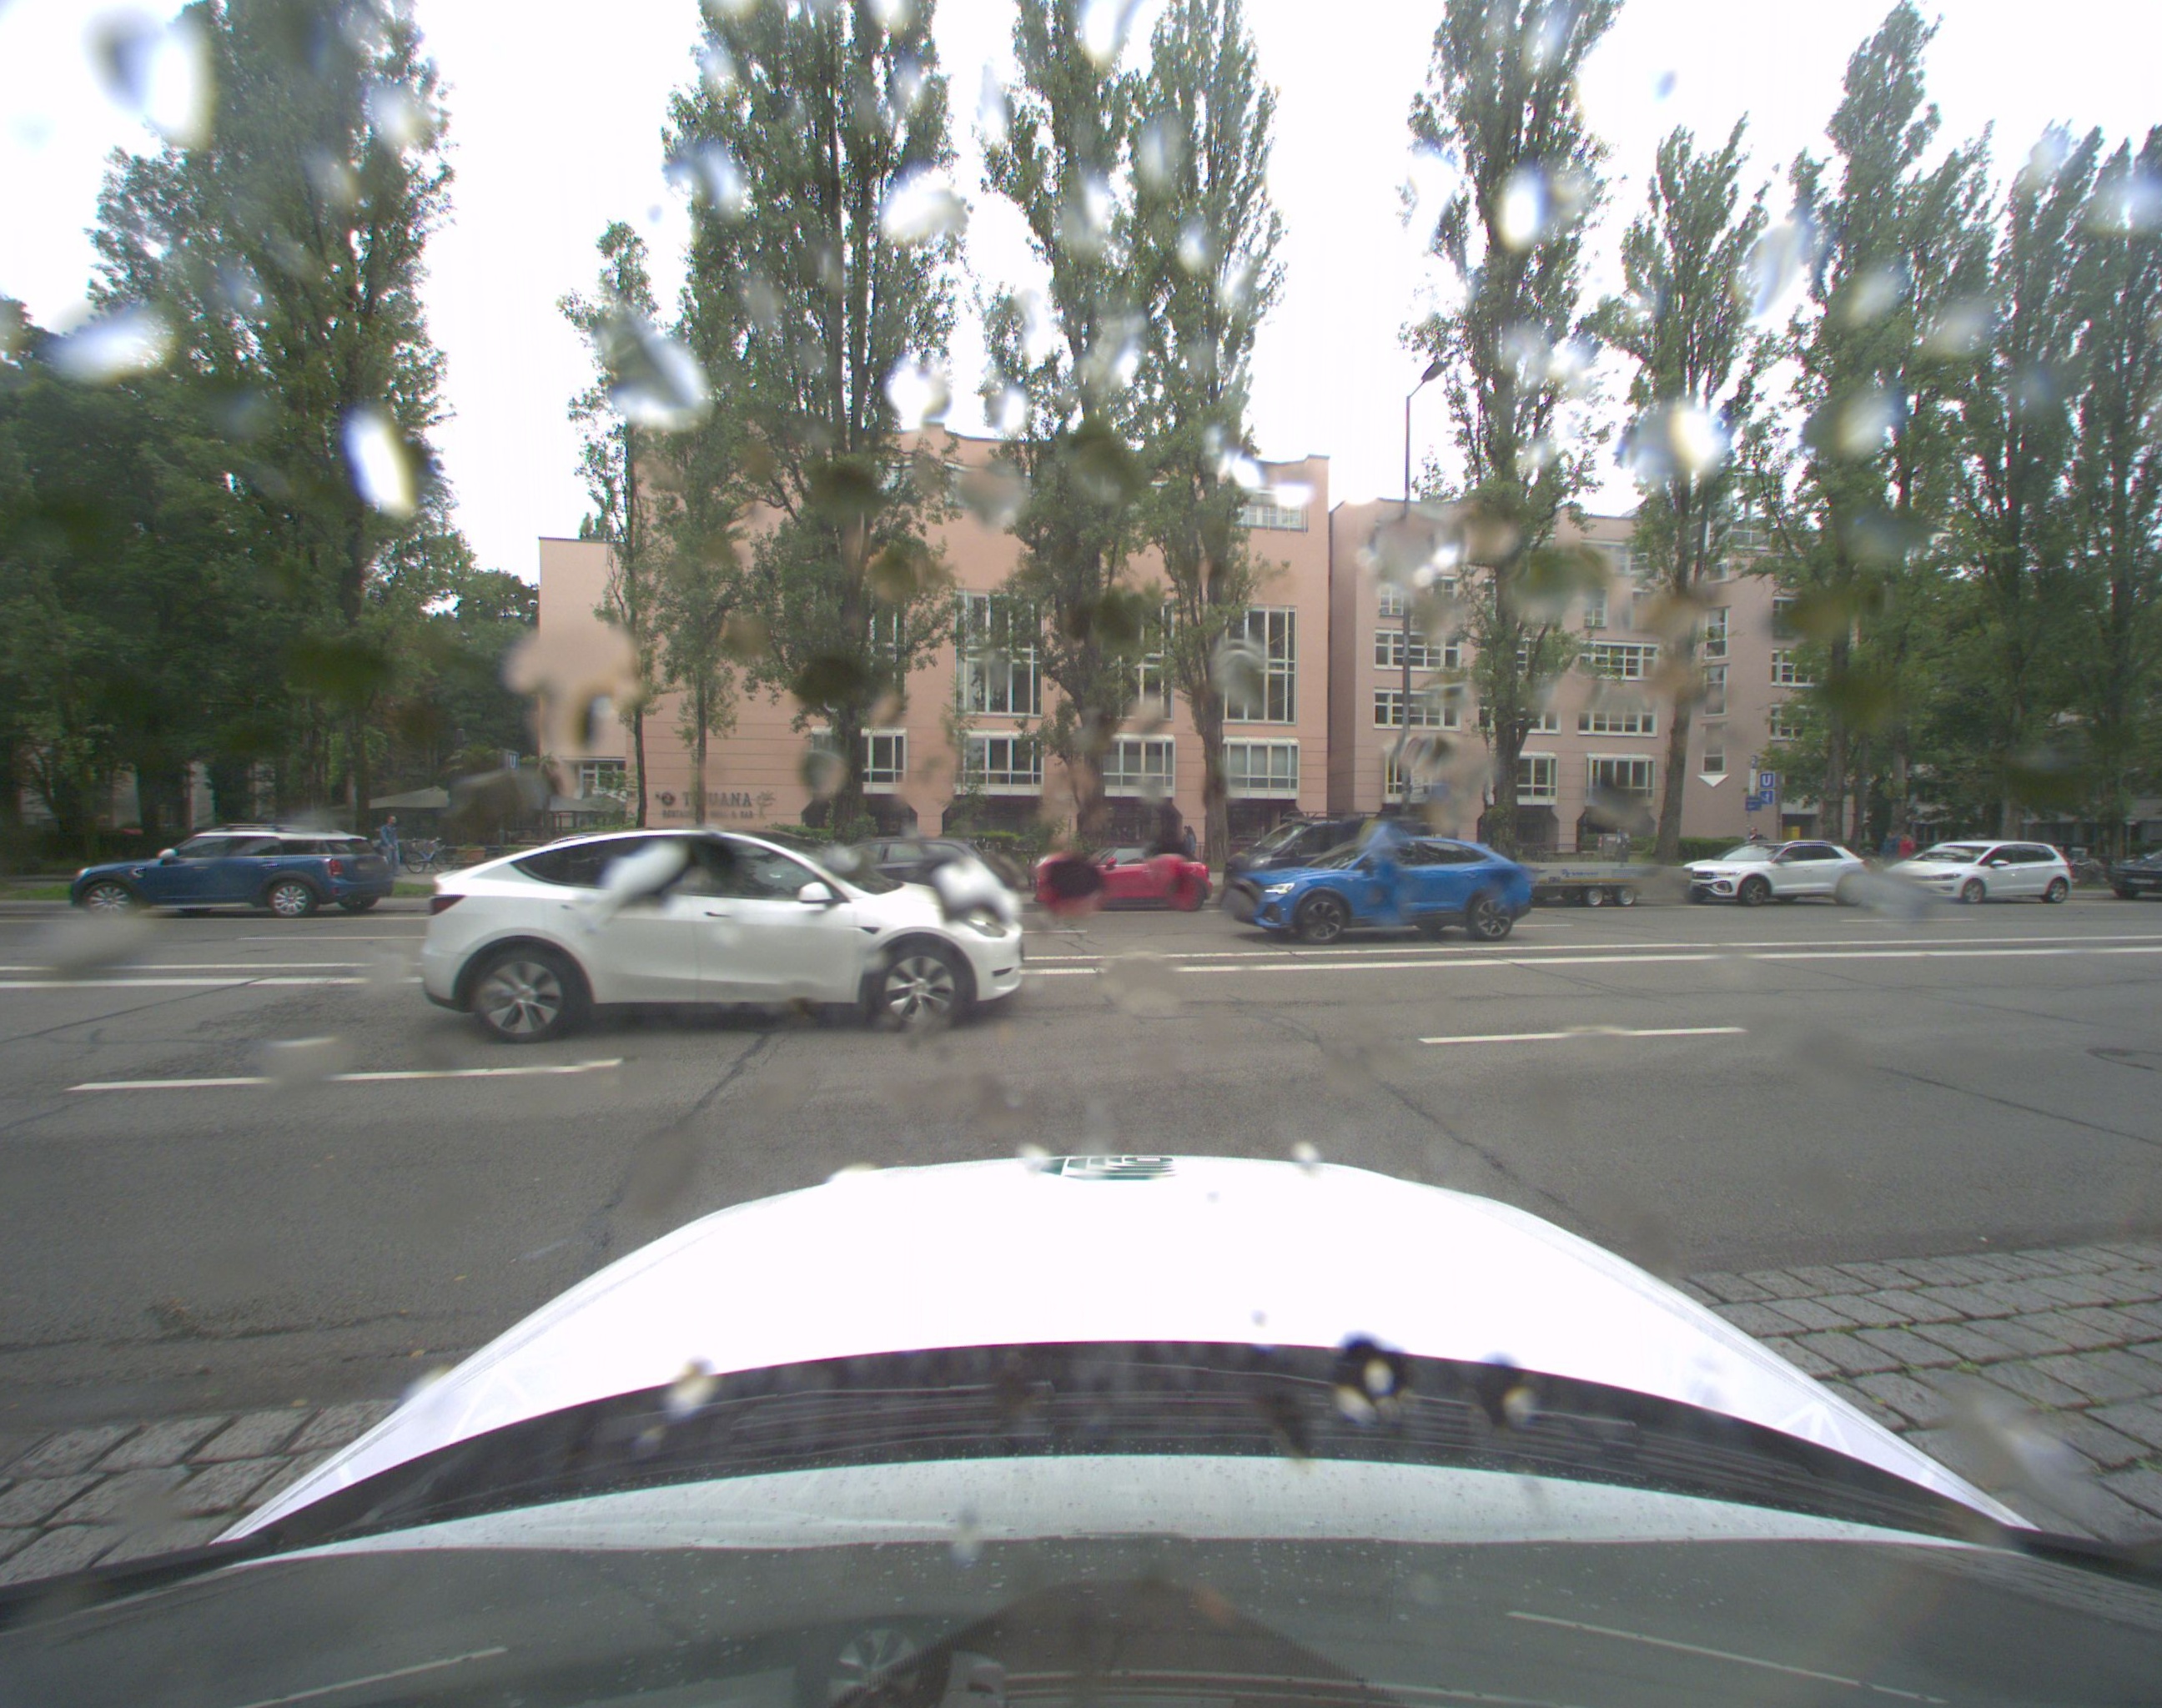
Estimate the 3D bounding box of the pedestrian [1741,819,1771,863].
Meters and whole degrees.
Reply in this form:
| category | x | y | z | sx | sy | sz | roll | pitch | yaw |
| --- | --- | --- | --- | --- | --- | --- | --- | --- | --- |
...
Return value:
| category | x | y | z | sx | sy | sz | roll | pitch | yaw |
| --- | --- | --- | --- | --- | --- | --- | --- | --- | --- |
| pedestrian | 25.106 | -0.481 | 30.290 | 0.652 | 1.604 | 0.561 | 1 | 1 | 12 |

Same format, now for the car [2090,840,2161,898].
| category | x | y | z | sx | sy | sz | roll | pitch | yaw |
| --- | --- | --- | --- | --- | --- | --- | --- | --- | --- |
| car | 30.903 | 0.402 | 22.403 | 4.307 | 1.541 | 1.995 | 0 | 2 | -8 |

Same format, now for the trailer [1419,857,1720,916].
| category | x | y | z | sx | sy | sz | roll | pitch | yaw |
| --- | --- | --- | --- | --- | --- | --- | --- | --- | --- |
| trailer | 11.546 | 0.729 | 19.480 | 6.014 | 1.199 | 2.399 | 0 | 2 | -8 |

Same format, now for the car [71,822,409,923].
| category | x | y | z | sx | sy | sz | roll | pitch | yaw |
| --- | --- | --- | --- | --- | --- | --- | --- | --- | --- |
| car | -15.415 | 0.309 | 15.175 | 4.065 | 1.731 | 1.788 | 0 | 0 | -10 |

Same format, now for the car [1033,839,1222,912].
| category | x | y | z | sx | sy | sz | roll | pitch | yaw |
| --- | --- | --- | --- | --- | --- | --- | --- | --- | --- |
| car | 0.919 | 0.431 | 17.510 | 3.855 | 1.448 | 1.675 | 0 | 2 | -6 |

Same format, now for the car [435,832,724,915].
| category | x | y | z | sx | sy | sz | roll | pitch | yaw |
| --- | --- | --- | --- | --- | --- | --- | --- | --- | --- |
| car | -9.756 | 0.337 | 16.200 | 4.497 | 1.528 | 1.789 | 0 | 2 | -9 |

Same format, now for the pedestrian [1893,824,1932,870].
| category | x | y | z | sx | sy | sz | roll | pitch | yaw |
| --- | --- | --- | --- | --- | --- | --- | --- | --- | --- |
| pedestrian | 31.382 | -0.270 | 30.735 | 0.729 | 1.713 | 0.707 | 0 | 1 | -7 |

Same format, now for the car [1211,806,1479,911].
| category | x | y | z | sx | sy | sz | roll | pitch | yaw |
| --- | --- | --- | --- | --- | --- | --- | --- | --- | --- |
| car | 5.905 | 0.072 | 18.508 | 5.476 | 2.196 | 2.018 | 0 | 2 | -8 |

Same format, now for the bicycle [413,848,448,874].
| category | x | y | z | sx | sy | sz | roll | pitch | yaw |
| --- | --- | --- | --- | --- | --- | --- | --- | --- | --- |
| bicycle | -20.884 | 0.226 | 26.175 | 0.323 | 0.798 | 1.028 | 0 | 1 | -2 |

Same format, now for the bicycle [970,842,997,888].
| category | x | y | z | sx | sy | sz | roll | pitch | yaw |
| --- | --- | --- | --- | --- | --- | --- | --- | --- | --- |
| bicycle | -2.568 | 0.270 | 21.431 | 0.673 | 1.124 | 1.738 | 0 | 2 | -7 |

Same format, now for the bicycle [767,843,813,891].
| category | x | y | z | sx | sy | sz | roll | pitch | yaw |
| --- | --- | --- | --- | --- | --- | --- | --- | --- | --- |
| bicycle | -7.379 | 0.311 | 20.724 | 0.673 | 1.124 | 1.984 | 0 | 2 | -7 |

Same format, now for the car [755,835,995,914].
| category | x | y | z | sx | sy | sz | roll | pitch | yaw |
| --- | --- | --- | --- | --- | --- | --- | --- | --- | --- |
| car | -4.129 | 0.380 | 16.954 | 4.606 | 1.528 | 1.789 | 0 | 2 | -9 |

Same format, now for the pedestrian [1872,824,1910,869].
| category | x | y | z | sx | sy | sz | roll | pitch | yaw |
| --- | --- | --- | --- | --- | --- | --- | --- | --- | --- |
| pedestrian | 31.323 | -0.288 | 31.491 | 0.729 | 1.713 | 0.707 | 0 | 1 | -7 |

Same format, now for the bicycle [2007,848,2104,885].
| category | x | y | z | sx | sy | sz | roll | pitch | yaw |
| --- | --- | --- | --- | --- | --- | --- | --- | --- | --- |
| bicycle | 31.945 | 0.383 | 26.750 | 0.673 | 1.124 | 1.984 | 0 | 2 | -7 |

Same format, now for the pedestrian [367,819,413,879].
| category | x | y | z | sx | sy | sz | roll | pitch | yaw |
| --- | --- | --- | --- | --- | --- | --- | --- | --- | --- |
| pedestrian | -19.856 | -0.147 | 23.410 | 0.729 | 1.713 | 0.707 | 0 | 1 | -7 |

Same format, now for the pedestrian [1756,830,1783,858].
| category | x | y | z | sx | sy | sz | roll | pitch | yaw |
| --- | --- | --- | --- | --- | --- | --- | --- | --- | --- |
| pedestrian | 40.913 | -0.611 | 48.419 | 0.893 | 1.661 | 0.815 | 0 | 1 | -7 |

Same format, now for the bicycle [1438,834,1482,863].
| category | x | y | z | sx | sy | sz | roll | pitch | yaw |
| --- | --- | --- | --- | --- | --- | --- | --- | --- | --- |
| bicycle | 15.597 | -0.234 | 33.591 | 0.673 | 1.124 | 1.984 | 0 | 2 | -7 |

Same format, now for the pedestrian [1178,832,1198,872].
| category | x | y | z | sx | sy | sz | roll | pitch | yaw |
| --- | --- | --- | --- | --- | --- | --- | --- | --- | --- |
| pedestrian | 4.658 | -0.113 | 35.348 | 0.706 | 1.713 | 0.731 | 0 | 1 | -5 |

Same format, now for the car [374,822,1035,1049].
| category | x | y | z | sx | sy | sz | roll | pitch | yaw |
| --- | --- | --- | --- | --- | --- | --- | --- | --- | --- |
| car | -2.786 | 0.540 | 7.059 | 4.621 | 1.575 | 1.995 | 0 | 3 | -9 |

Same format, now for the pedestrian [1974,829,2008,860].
| category | x | y | z | sx | sy | sz | roll | pitch | yaw |
| --- | --- | --- | --- | --- | --- | --- | --- | --- | --- |
| pedestrian | 48.859 | -0.530 | 43.742 | 0.893 | 1.661 | 0.815 | 0 | 1 | -7 |

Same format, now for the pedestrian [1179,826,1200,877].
| category | x | y | z | sx | sy | sz | roll | pitch | yaw |
| --- | --- | --- | --- | --- | --- | --- | --- | --- | --- |
| pedestrian | 3.555 | -0.093 | 26.699 | 0.556 | 1.663 | 0.620 | 0 | 1 | -4 |

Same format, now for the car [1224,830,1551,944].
| category | x | y | z | sx | sy | sz | roll | pitch | yaw |
| --- | --- | --- | --- | --- | --- | --- | --- | --- | --- |
| car | 4.612 | 0.461 | 12.577 | 4.405 | 1.579 | 1.867 | 0 | 0 | -8 |

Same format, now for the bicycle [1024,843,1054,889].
| category | x | y | z | sx | sy | sz | roll | pitch | yaw |
| --- | --- | --- | --- | --- | --- | --- | --- | --- | --- |
| bicycle | -1.129 | 0.292 | 21.637 | 0.673 | 1.124 | 1.725 | 0 | 2 | -7 |

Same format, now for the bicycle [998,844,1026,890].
| category | x | y | z | sx | sy | sz | roll | pitch | yaw |
| --- | --- | --- | --- | --- | --- | --- | --- | --- | --- |
| bicycle | -1.833 | 0.311 | 21.545 | 0.673 | 1.124 | 1.738 | 0 | 2 | -7 |

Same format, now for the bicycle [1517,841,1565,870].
| category | x | y | z | sx | sy | sz | roll | pitch | yaw |
| --- | --- | --- | --- | --- | --- | --- | --- | --- | --- |
| bicycle | 19.143 | 0.046 | 33.958 | 0.673 | 1.124 | 1.984 | 0 | 2 | -7 |

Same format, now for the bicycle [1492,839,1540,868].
| category | x | y | z | sx | sy | sz | roll | pitch | yaw |
| --- | --- | --- | --- | --- | --- | --- | --- | --- | --- |
| bicycle | 18.008 | -0.050 | 33.787 | 0.673 | 1.124 | 2.102 | 0 | 2 | -7 |

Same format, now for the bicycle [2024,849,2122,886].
| category | x | y | z | sx | sy | sz | roll | pitch | yaw |
| --- | --- | --- | --- | --- | --- | --- | --- | --- | --- |
| bicycle | 32.697 | 0.429 | 26.883 | 0.673 | 1.124 | 1.984 | 0 | 2 | -7 |

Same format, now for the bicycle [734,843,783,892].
| category | x | y | z | sx | sy | sz | roll | pitch | yaw |
| --- | --- | --- | --- | --- | --- | --- | --- | --- | --- |
| bicycle | -8.133 | 0.310 | 20.637 | 0.673 | 1.124 | 1.984 | 0 | 2 | -7 |

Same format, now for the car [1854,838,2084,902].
| category | x | y | z | sx | sy | sz | roll | pitch | yaw |
| --- | --- | --- | --- | --- | --- | --- | --- | --- | --- |
| car | 22.992 | 0.379 | 21.179 | 4.309 | 1.541 | 1.994 | 0 | 2 | -9 |

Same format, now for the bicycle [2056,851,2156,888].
| category | x | y | z | sx | sy | sz | roll | pitch | yaw |
| --- | --- | --- | --- | --- | --- | --- | --- | --- | --- |
| bicycle | 33.914 | 0.478 | 26.989 | 0.673 | 1.124 | 1.984 | 0 | 2 | -7 |

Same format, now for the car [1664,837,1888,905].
| category | x | y | z | sx | sy | sz | roll | pitch | yaw |
| --- | --- | --- | --- | --- | --- | --- | --- | --- | --- |
| car | 16.893 | 0.381 | 19.885 | 4.215 | 1.542 | 1.802 | 0 | 0 | -7 |

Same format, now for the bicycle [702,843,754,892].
| category | x | y | z | sx | sy | sz | roll | pitch | yaw |
| --- | --- | --- | --- | --- | --- | --- | --- | --- | --- |
| bicycle | -8.853 | 0.311 | 20.507 | 0.673 | 1.124 | 1.984 | 0 | 2 | -7 |
